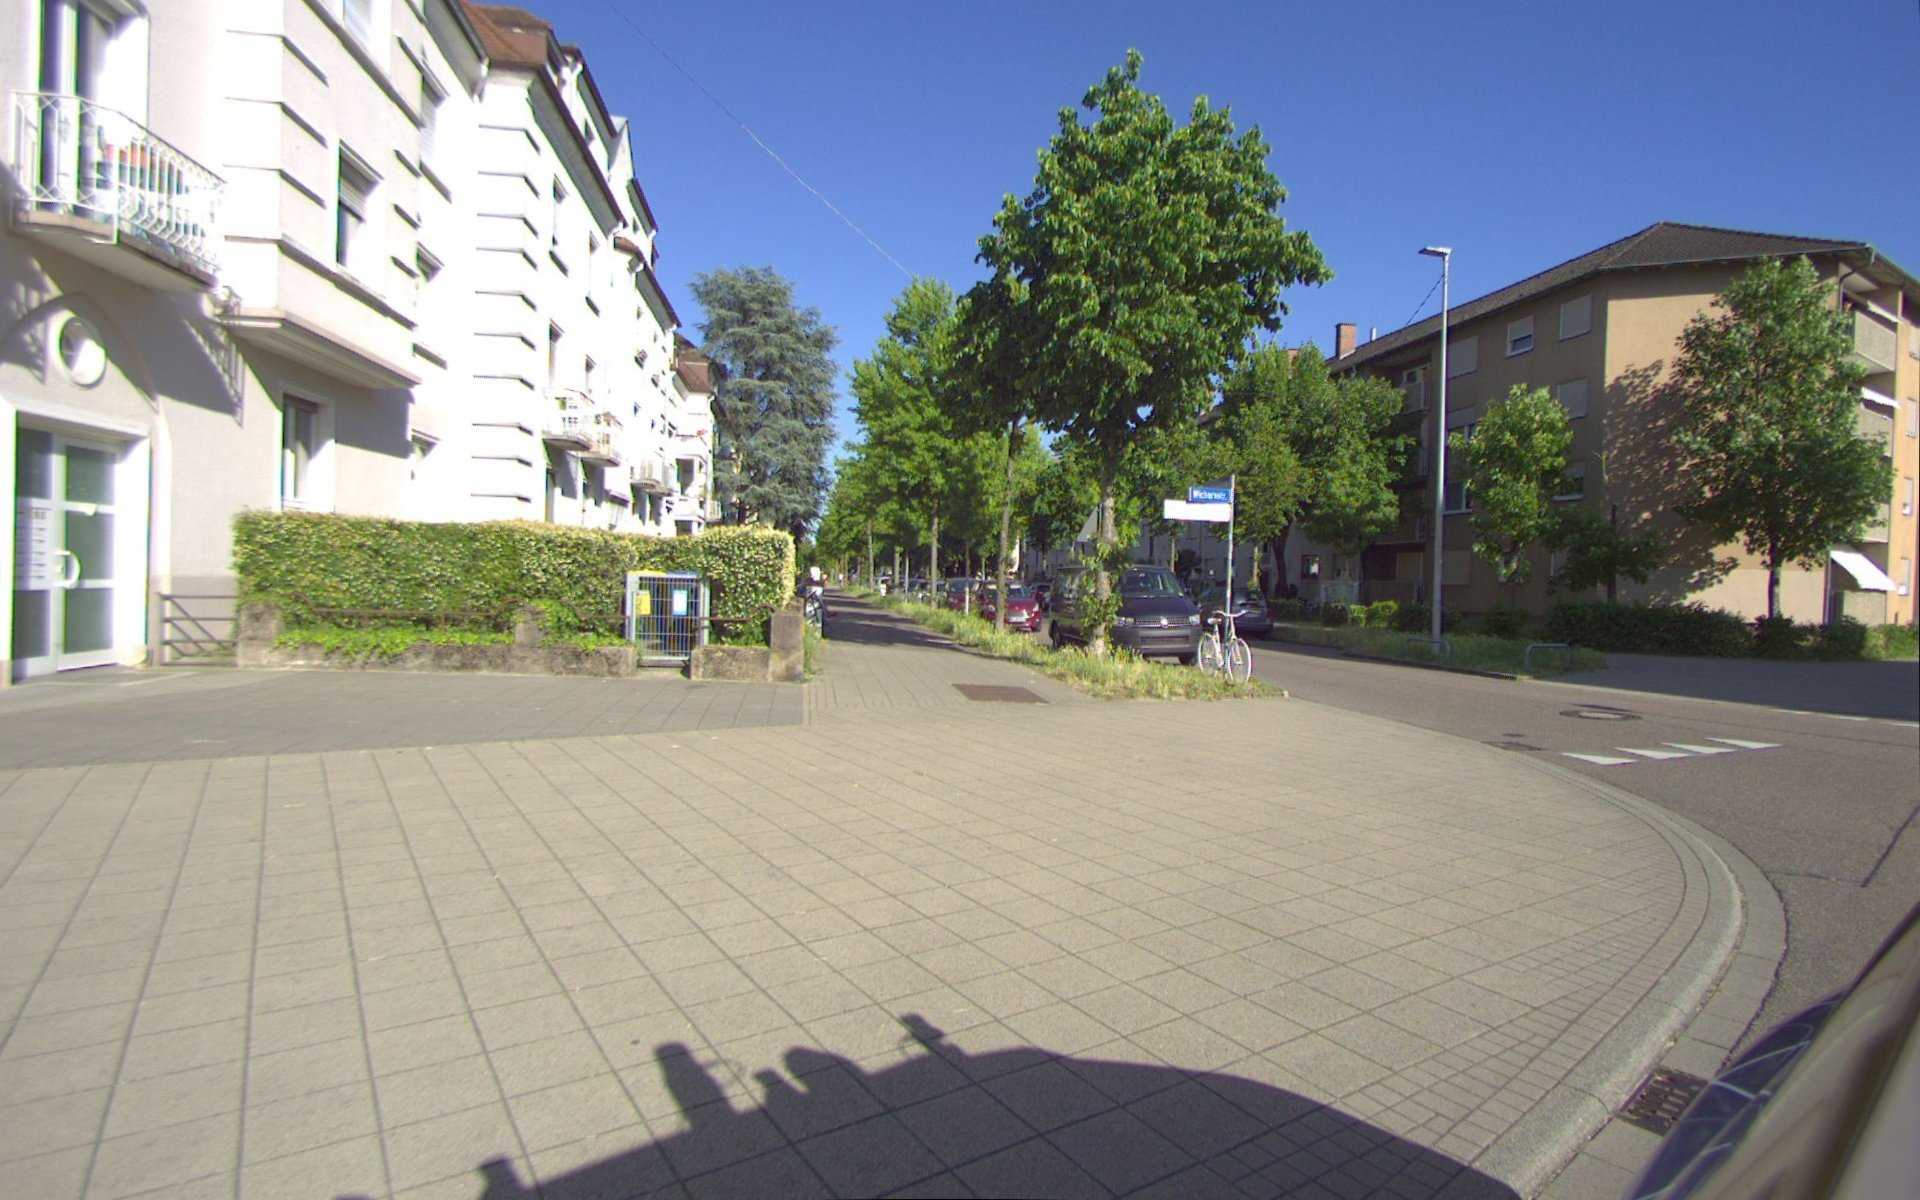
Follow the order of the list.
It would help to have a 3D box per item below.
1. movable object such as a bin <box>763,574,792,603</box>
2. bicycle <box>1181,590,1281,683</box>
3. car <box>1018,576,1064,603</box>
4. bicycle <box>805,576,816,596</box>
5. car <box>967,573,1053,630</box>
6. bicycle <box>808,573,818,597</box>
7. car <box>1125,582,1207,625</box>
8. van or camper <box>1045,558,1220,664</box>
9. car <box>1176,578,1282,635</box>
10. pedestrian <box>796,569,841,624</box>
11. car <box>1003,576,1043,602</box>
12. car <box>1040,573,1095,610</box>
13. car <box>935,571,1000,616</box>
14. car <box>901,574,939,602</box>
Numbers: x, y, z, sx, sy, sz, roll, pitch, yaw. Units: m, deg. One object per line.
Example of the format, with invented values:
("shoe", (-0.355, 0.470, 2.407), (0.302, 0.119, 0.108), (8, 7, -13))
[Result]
("movable object such as a bin", (-5.767, -0.364, 32.027), (0.763, 0.873, 1.011), (-1, 2, -4))
("bicycle", (3.922, 0.488, 14.810), (0.518, 1.208, 2.035), (1, 2, -12))
("car", (4.585, -0.626, 57.961), (1.629, 1.409, 4.244), (1, 1, -9))
("bicycle", (-8.233, -0.796, 55.588), (0.424, 1.024, 2.254), (-4, 3, -10))
("car", (1.513, -0.020, 32.678), (1.866, 1.633, 4.981), (0, 2, -7))
("bicycle", (-7.721, -0.802, 53.149), (0.480, 1.212, 2.180), (-1, 2, -9))
("car", (7.661, 0.089, 37.983), (1.630, 1.412, 4.100), (-1, 2, -10))
("van or camper", (3.348, 0.088, 20.869), (1.955, 1.885, 5.397), (-1, 2, -8))
("car", (8.503, 0.160, 32.360), (1.690, 1.581, 4.116), (2, 2, -9))
("pedestrian", (-3.501, -0.098, 25.074), (1.063, 1.311, 0.821), (-1, 2, -9))
("car", (3.859, -0.704, 62.707), (1.620, 1.462, 3.975), (2, 2, -9))
("car", (5.481, -0.494, 52.154), (1.674, 1.700, 4.232), (2, 2, -9))
("car", (0.223, -0.319, 41.380), (1.896, 1.586, 4.602), (3, 2, -8))
("car", (-2.304, -0.713, 57.746), (1.577, 1.482, 3.879), (-1, 2, -10))
